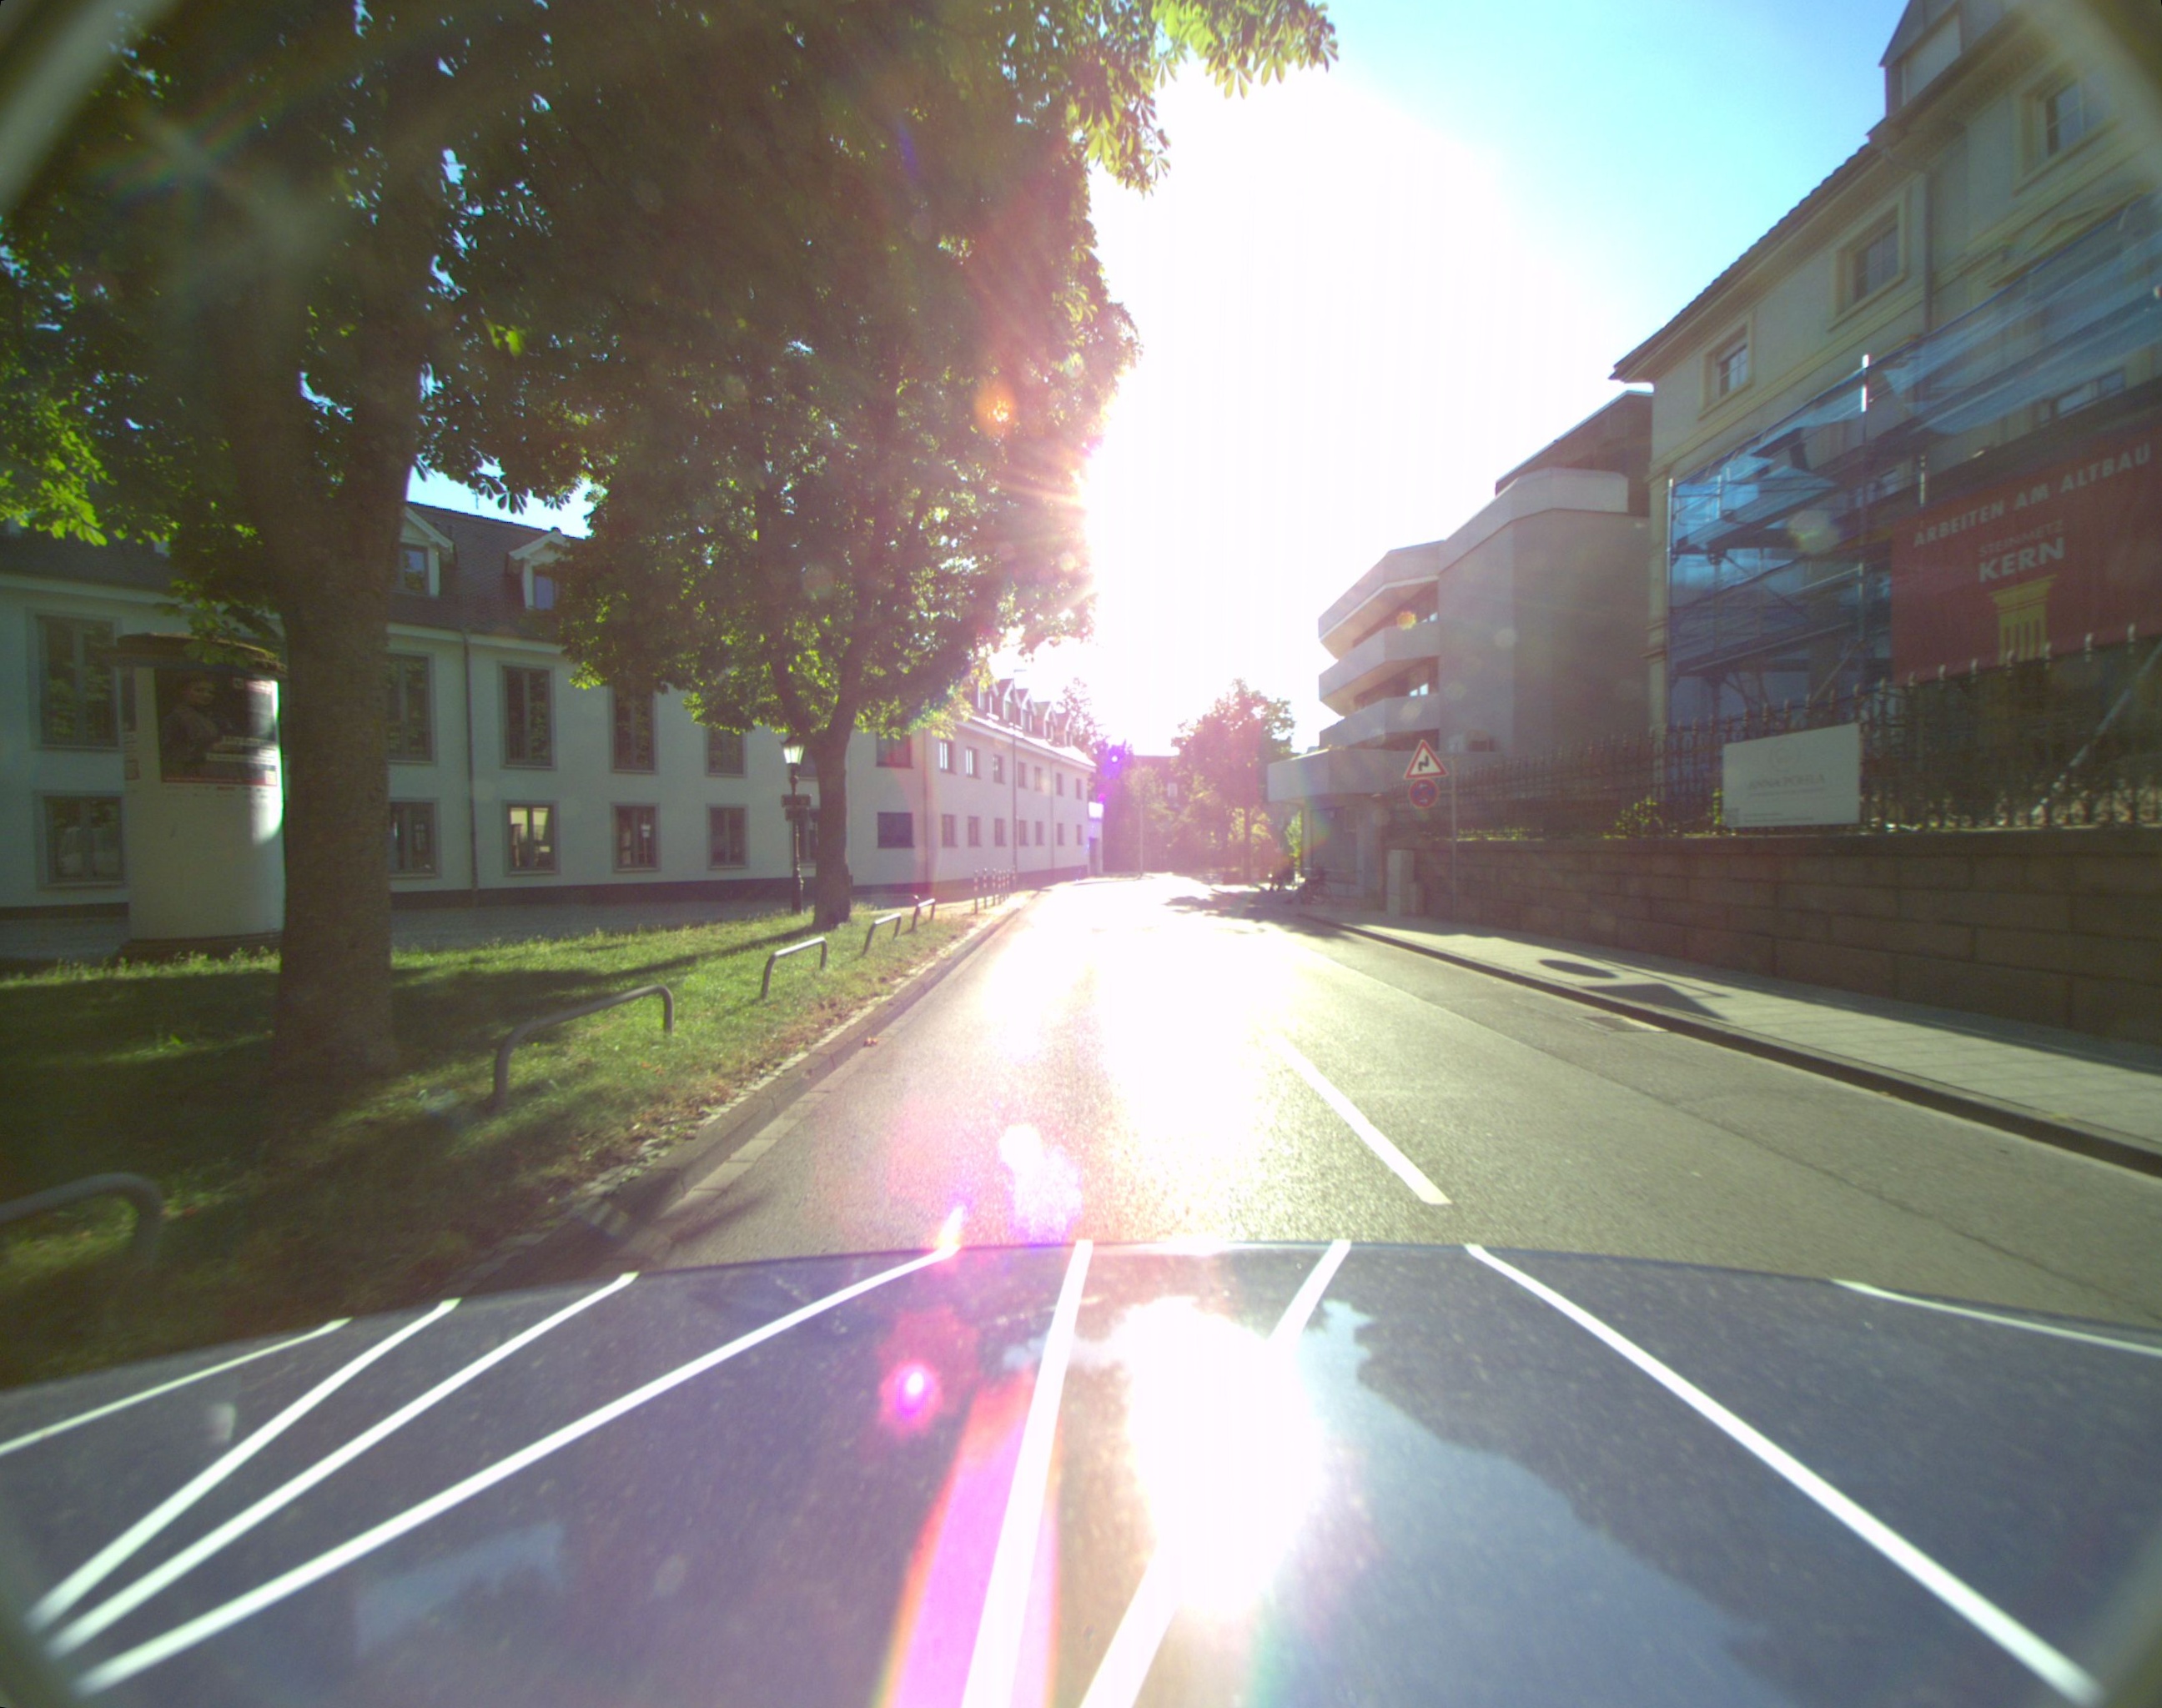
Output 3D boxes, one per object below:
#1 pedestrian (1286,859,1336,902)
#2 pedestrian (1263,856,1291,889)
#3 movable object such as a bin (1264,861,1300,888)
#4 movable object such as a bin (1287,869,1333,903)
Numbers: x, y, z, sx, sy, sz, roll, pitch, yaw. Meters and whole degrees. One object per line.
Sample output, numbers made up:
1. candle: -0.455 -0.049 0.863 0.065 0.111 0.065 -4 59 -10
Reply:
1. pedestrian: 6.742 0.778 22.268 1.155 1.222 0.843 -2 -2 35
2. pedestrian: 7.407 0.687 28.709 0.743 1.179 0.840 -3 1 -6
3. movable object such as a bin: 7.581 0.756 28.719 1.038 0.923 0.840 -3 1 -6
4. movable object such as a bin: 6.719 0.930 22.256 1.035 0.923 0.842 -2 1 35
